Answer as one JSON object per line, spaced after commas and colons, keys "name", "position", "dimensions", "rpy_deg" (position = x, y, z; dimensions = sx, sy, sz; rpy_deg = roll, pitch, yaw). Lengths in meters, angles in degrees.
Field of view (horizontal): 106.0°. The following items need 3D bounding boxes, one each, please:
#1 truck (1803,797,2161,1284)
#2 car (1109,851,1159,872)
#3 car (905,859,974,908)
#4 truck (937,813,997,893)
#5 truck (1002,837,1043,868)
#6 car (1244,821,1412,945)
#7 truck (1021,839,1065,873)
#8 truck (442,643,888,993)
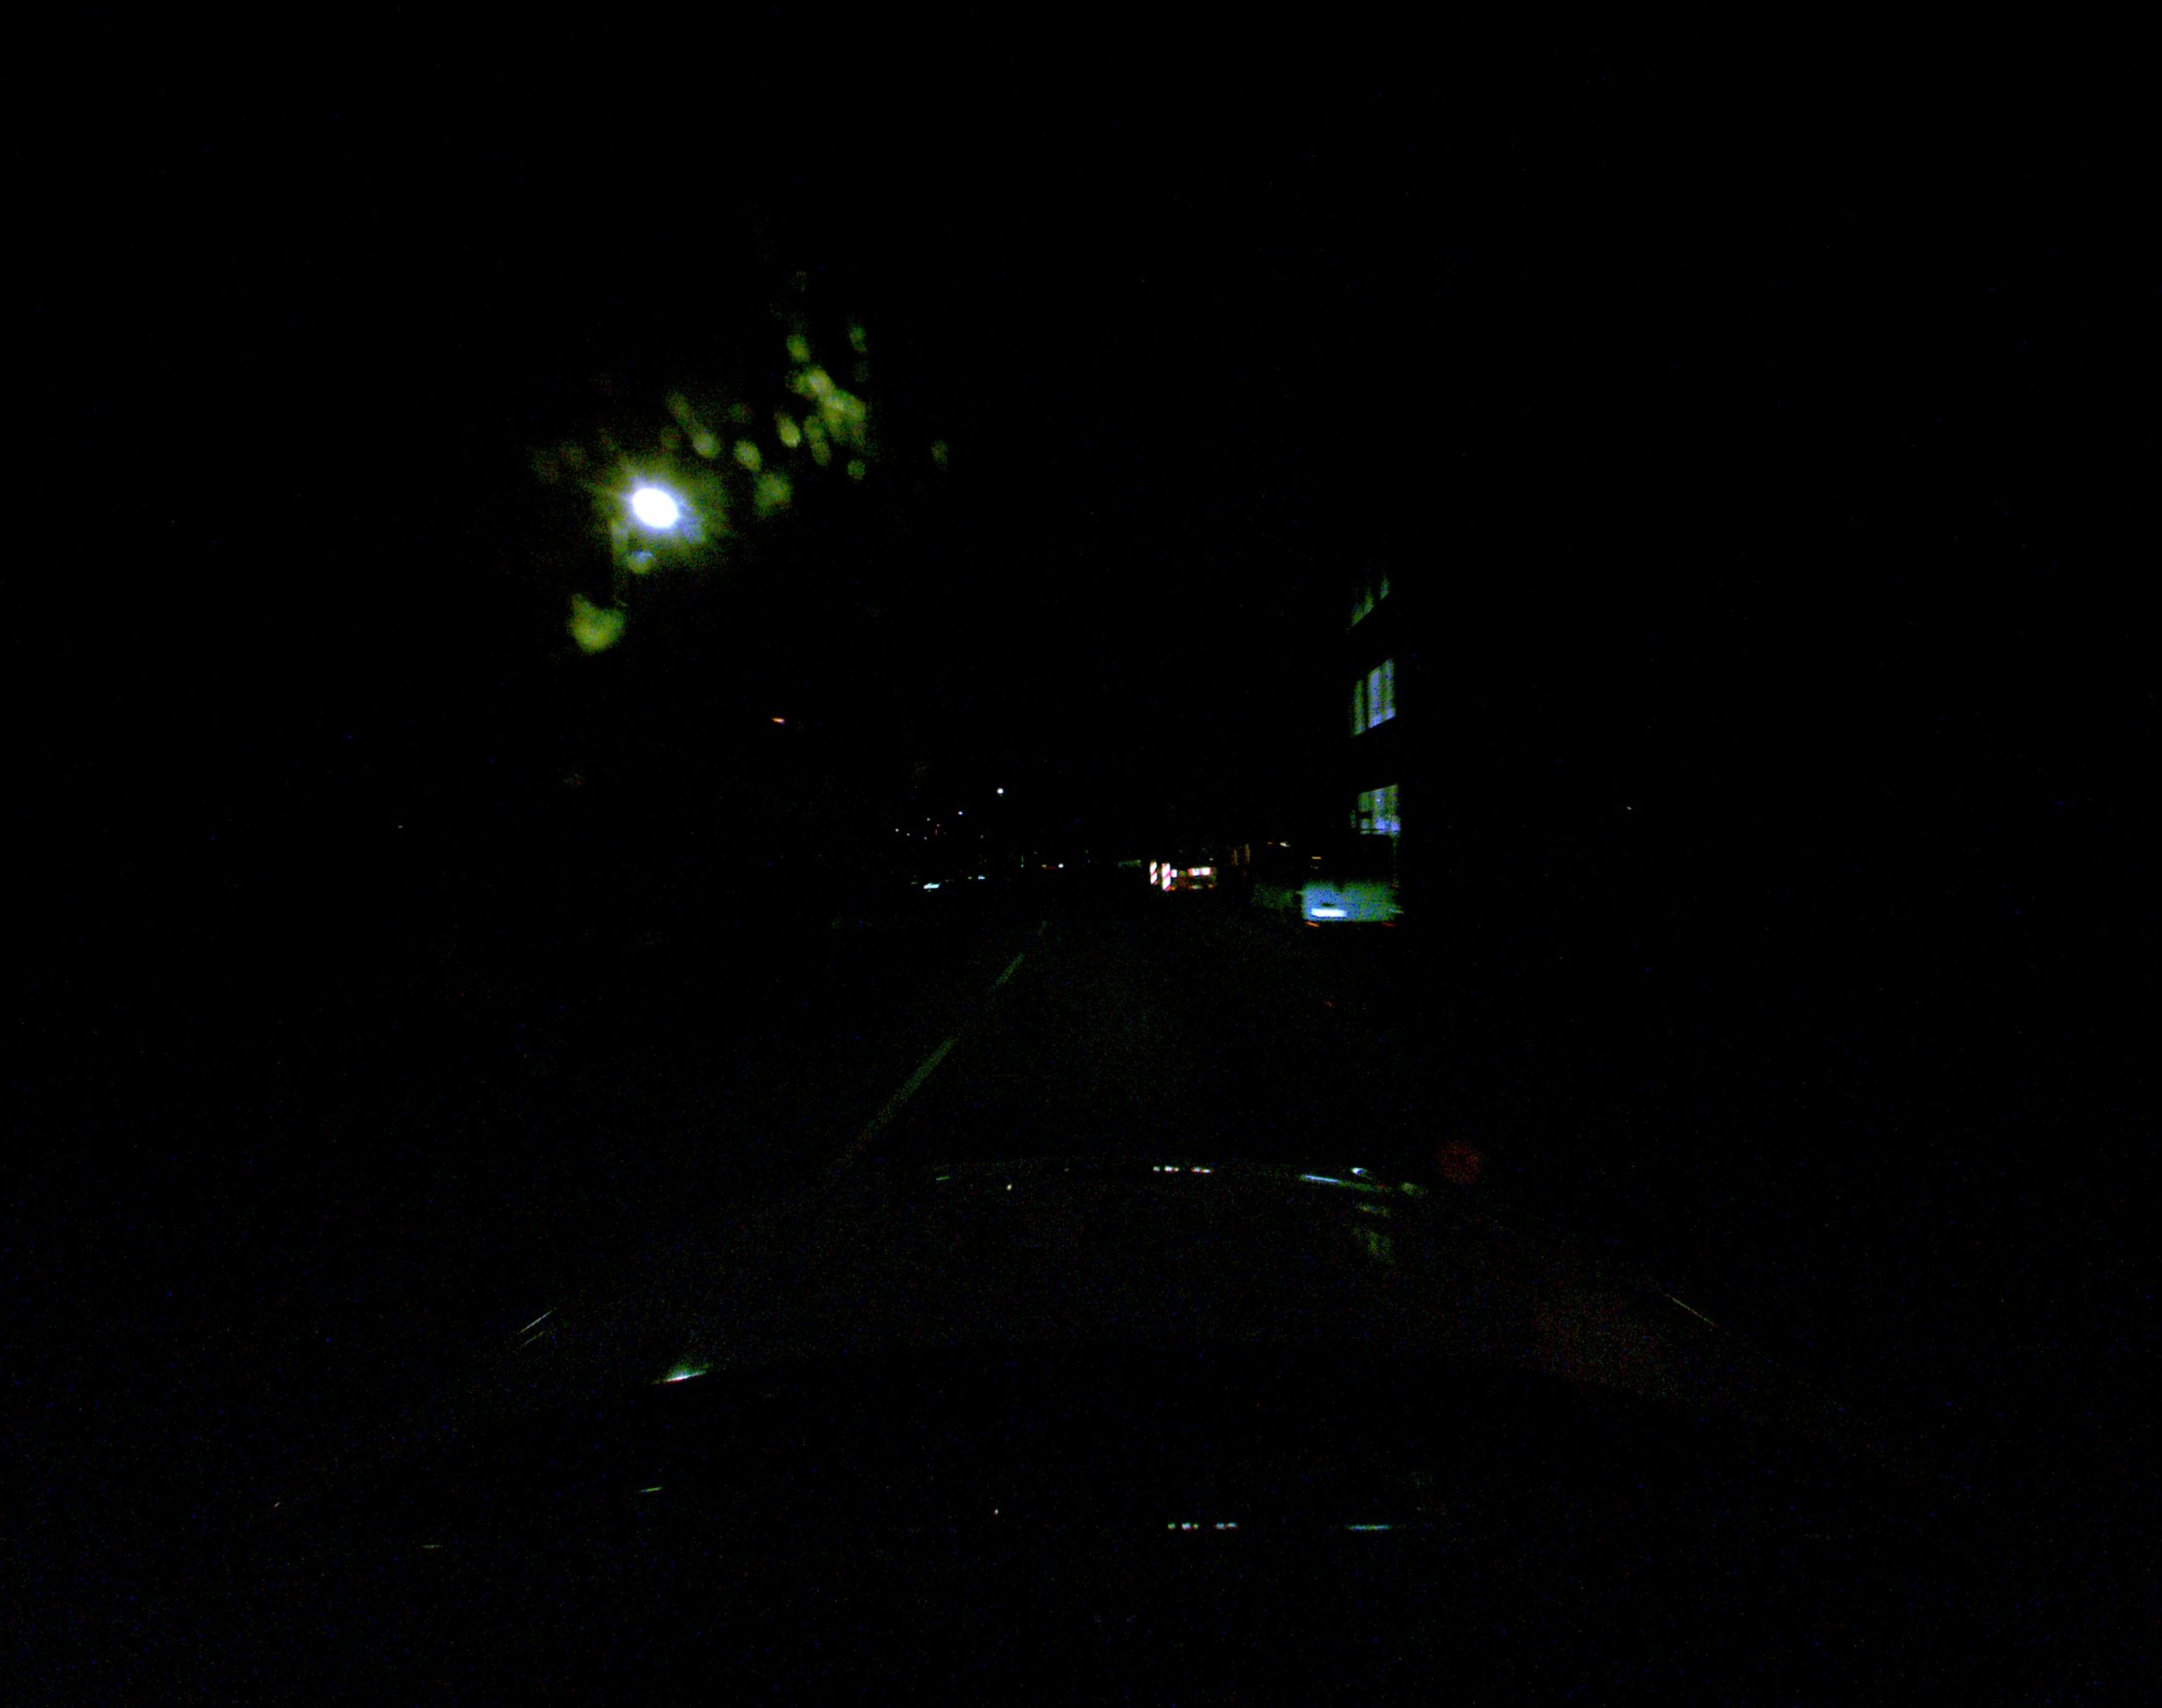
{"name": "truck", "position": [4.294, 0.607, 2.186], "dimensions": [1.365, 1.644, 3.813], "rpy_deg": [-2, 0, 2]}
{"name": "car", "position": [5.085, 0.730, 78.699], "dimensions": [4.341, 1.646, 1.880], "rpy_deg": [-4, 1, -20]}
{"name": "car", "position": [-5.599, 1.109, 32.907], "dimensions": [1.938, 1.717, 5.194], "rpy_deg": [-2, 0, -2]}
{"name": "truck", "position": [-6.506, -0.040, 47.554], "dimensions": [2.768, 4.120, 9.325], "rpy_deg": [-2, 0, -5]}
{"name": "truck", "position": [-7.653, -0.128, 105.675], "dimensions": [2.763, 3.783, 10.160], "rpy_deg": [-2, 0, -19]}
{"name": "car", "position": [4.656, 0.498, 16.202], "dimensions": [1.985, 2.013, 4.915], "rpy_deg": [-2, 0, 2]}
{"name": "truck", "position": [-4.608, 0.267, 95.893], "dimensions": [2.763, 3.783, 9.080], "rpy_deg": [-2, 0, -18]}
{"name": "truck", "position": [-5.999, -0.412, 14.311], "dimensions": [2.737, 4.034, 9.561], "rpy_deg": [-1, 0, 1]}
